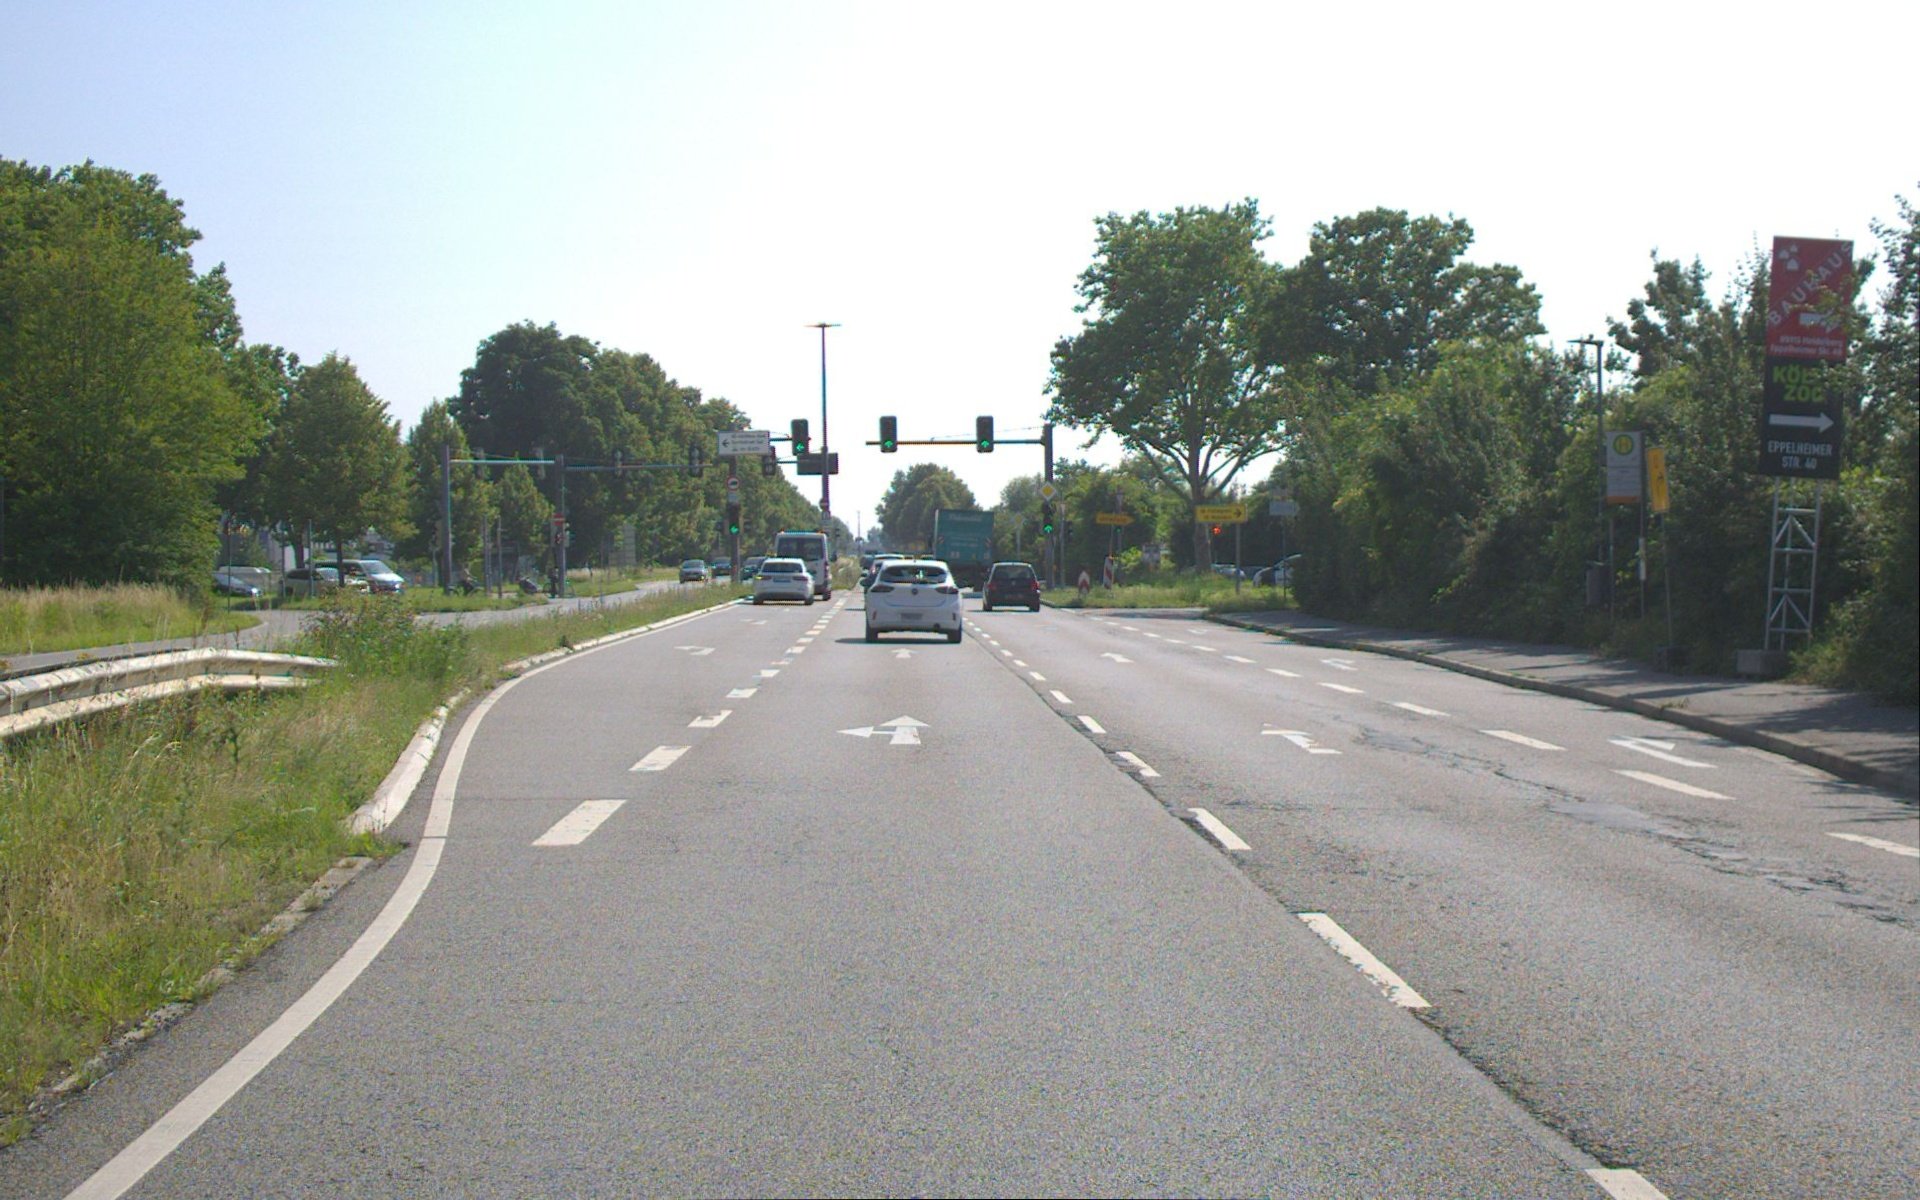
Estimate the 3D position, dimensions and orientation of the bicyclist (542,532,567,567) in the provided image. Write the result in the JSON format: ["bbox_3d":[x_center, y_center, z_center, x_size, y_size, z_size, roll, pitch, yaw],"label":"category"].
[{"bbox_3d":[-18.748,-2.317,159.039,0.863,1.613,0.757,0,1,27],"label":"bicyclist"}]

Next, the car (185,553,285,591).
[{"bbox_3d":[-32.690,-1.271,155.029,4.262,1.600,2.001,-1,2,34],"label":"car"}]

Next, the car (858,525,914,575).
[{"bbox_3d":[-2.133,-1.447,99.504,1.572,1.409,3.278,1,1,-1],"label":"car"}]

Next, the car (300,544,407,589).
[{"bbox_3d":[-27.418,-1.517,155.328,4.649,1.943,1.996,-1,2,34],"label":"car"}]

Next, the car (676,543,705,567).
[{"bbox_3d":[-16.886,-2.835,215.745,1.485,1.409,3.763,-3,2,-1],"label":"car"}]

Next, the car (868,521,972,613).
[{"bbox_3d":[-0.709,-0.617,61.491,1.798,1.547,4.001,0,2,0],"label":"car"}]

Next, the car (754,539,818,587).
[{"bbox_3d":[-5.498,-1.191,108.995,1.812,1.459,4.971,0,1,0],"label":"car"}]

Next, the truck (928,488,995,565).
[{"bbox_3d":[0.010,-3.457,159.994,2.891,3.417,9.170,-1,2,-1],"label":"truck"}]

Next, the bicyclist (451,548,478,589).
[{"bbox_3d":[-18.521,-1.170,128.465,0.847,1.512,0.747,0,2,4],"label":"bicyclist"}]

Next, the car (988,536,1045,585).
[{"bbox_3d":[1.653,-1.175,101.709,1.572,1.409,3.278,0,1,-1],"label":"car"}]

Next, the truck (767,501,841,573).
[{"bbox_3d":[-5.432,-2.227,120.436,2.373,2.380,6.041,-1,2,-1],"label":"truck"}]

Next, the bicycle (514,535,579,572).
[{"bbox_3d":[-19.152,-2.154,159.226,2.796,1.664,1.134,-1,1,26],"label":"bicycle"}]

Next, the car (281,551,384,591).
[{"bbox_3d":[-27.698,-1.273,151.640,4.262,1.600,2.001,-1,2,34],"label":"car"}]

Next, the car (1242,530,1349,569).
[{"bbox_3d":[13.123,-1.974,134.414,3.748,1.464,1.783,0,1,27],"label":"car"}]
